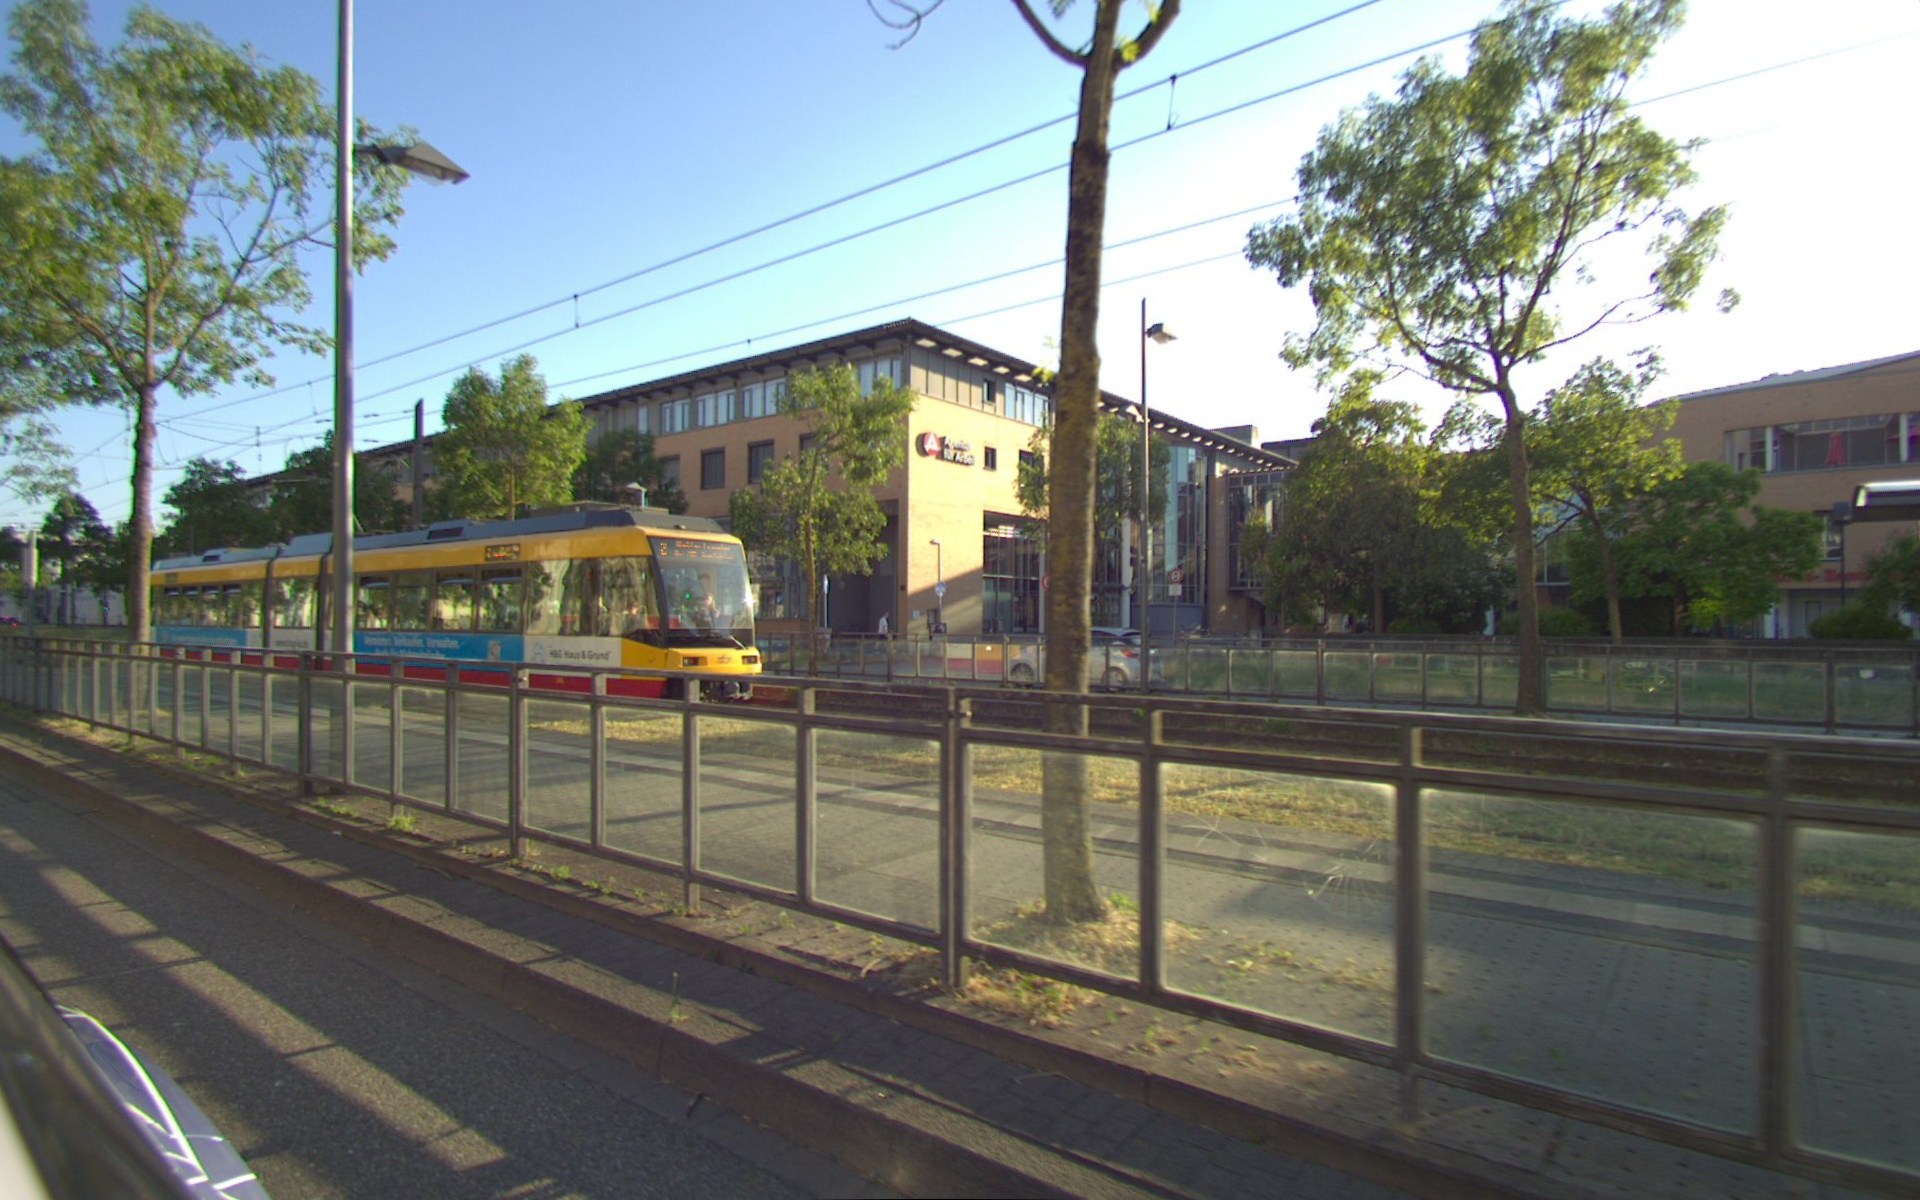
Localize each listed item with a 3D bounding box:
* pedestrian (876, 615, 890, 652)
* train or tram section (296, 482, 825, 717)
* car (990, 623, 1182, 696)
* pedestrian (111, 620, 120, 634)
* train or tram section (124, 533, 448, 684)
[{"bbox_3d":[-3.152,1.381,41.564,0.538,1.517,0.532,0,-1,-9],"label":"pedestrian"},{"bbox_3d":[-8.723,0.078,20.145,13.840,3.365,3.397,-1,-1,39],"label":"train or tram section"},{"bbox_3d":[2.843,1.300,23.178,3.993,1.519,1.845,-1,-1,37],"label":"car"},{"bbox_3d":[-82.989,2.615,99.444,0.574,1.378,0.581,0,-1,32],"label":"pedestrian"},{"bbox_3d":[-19.990,0.282,29.207,15.009,3.456,3.397,-1,-1,39],"label":"train or tram section"}]
